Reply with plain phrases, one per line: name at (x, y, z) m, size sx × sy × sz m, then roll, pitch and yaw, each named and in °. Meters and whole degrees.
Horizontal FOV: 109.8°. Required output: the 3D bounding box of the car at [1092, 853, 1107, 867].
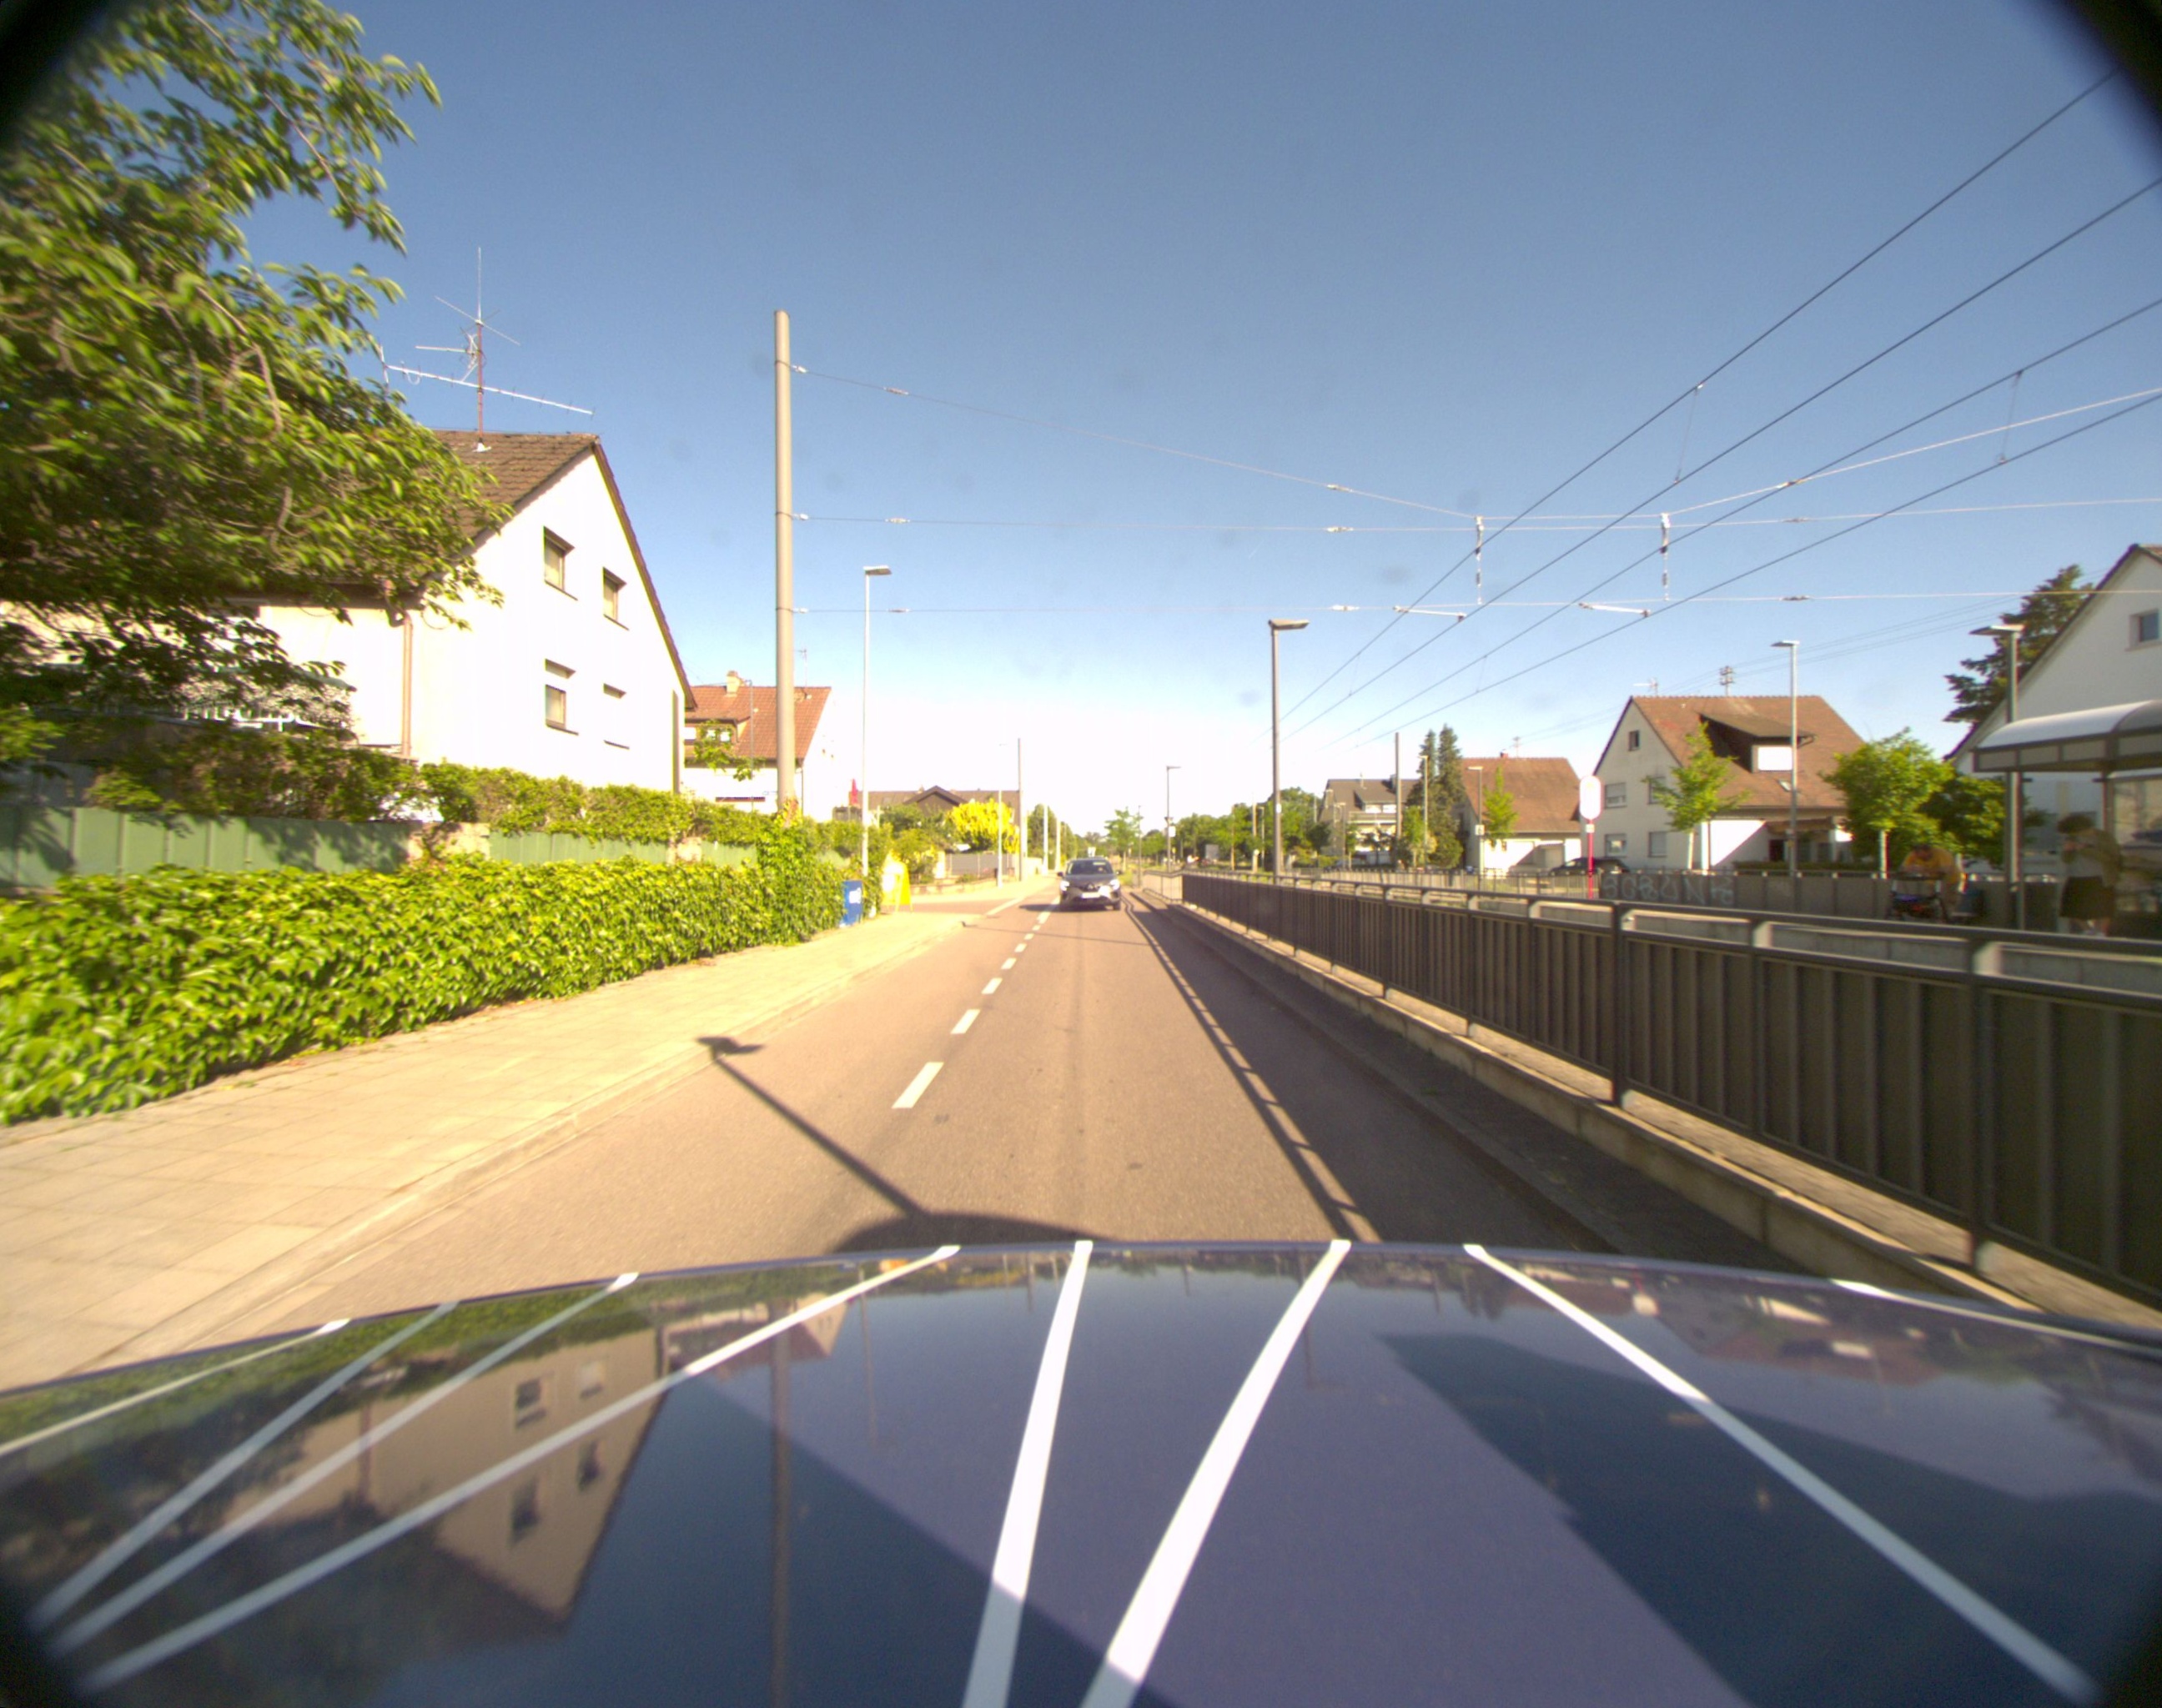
car at (2.692, 0.886, 109.520) m, size 1.998 × 1.824 × 4.000 m, roll -2°, pitch 1°, yaw 2°

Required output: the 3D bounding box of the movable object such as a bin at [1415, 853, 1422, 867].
movable object such as a bin at (24.517, 0.429, 55.163) m, size 0.299 × 0.960 × 0.333 m, roll -2°, pitch 1°, yaw -3°

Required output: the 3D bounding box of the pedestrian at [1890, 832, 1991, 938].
pedestrian at (12.804, 0.448, 11.340) m, size 0.677 × 1.527 × 0.749 m, roll 0°, pitch 0°, yaw -3°

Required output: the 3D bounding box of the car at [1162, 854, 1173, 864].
car at (17.412, 0.945, 153.872) m, size 1.902 × 1.903 × 4.703 m, roll 0°, pitch 0°, yaw 3°

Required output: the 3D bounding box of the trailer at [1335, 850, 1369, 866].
trailer at (27.030, 0.393, 75.902) m, size 2.921 × 1.638 × 1.398 m, roll 0°, pitch 0°, yaw -2°

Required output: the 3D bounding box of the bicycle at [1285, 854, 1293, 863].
bicycle at (24.780, 0.535, 90.585) m, size 0.424 × 0.936 × 1.748 m, roll -2°, pitch 1°, yaw 1°

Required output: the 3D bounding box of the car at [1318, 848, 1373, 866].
car at (25.663, 0.310, 73.766) m, size 4.556 × 1.724 × 2.051 m, roll 0°, pitch 0°, yaw -11°

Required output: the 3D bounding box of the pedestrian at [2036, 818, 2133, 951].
pedestrian at (13.274, 0.394, 10.065) m, size 0.521 × 1.698 × 0.581 m, roll 0°, pitch 0°, yaw -3°

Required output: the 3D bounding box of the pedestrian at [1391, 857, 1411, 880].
pedestrian at (22.744, 1.011, 54.054) m, size 0.967 × 1.631 × 1.085 m, roll 0°, pitch 0°, yaw 1°

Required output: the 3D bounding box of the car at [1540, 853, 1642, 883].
car at (26.413, 0.689, 39.633) m, size 1.939 × 1.441 × 5.162 m, roll 0°, pitch 0°, yaw 1°

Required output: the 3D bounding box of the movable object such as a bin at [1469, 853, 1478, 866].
movable object such as a bin at (28.507, 0.389, 55.217) m, size 0.371 × 0.892 × 0.452 m, roll -2°, pitch 1°, yaw -3°

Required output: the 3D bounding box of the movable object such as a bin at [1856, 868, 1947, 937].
movable object such as a bin at (12.183, 0.704, 11.301) m, size 0.548 × 0.982 × 0.741 m, roll 0°, pitch 0°, yaw -3°

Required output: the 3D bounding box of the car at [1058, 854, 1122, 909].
car at (0.251, 0.821, 24.728) m, size 1.867 × 1.614 × 4.000 m, roll -1°, pitch 0°, yaw -1°
